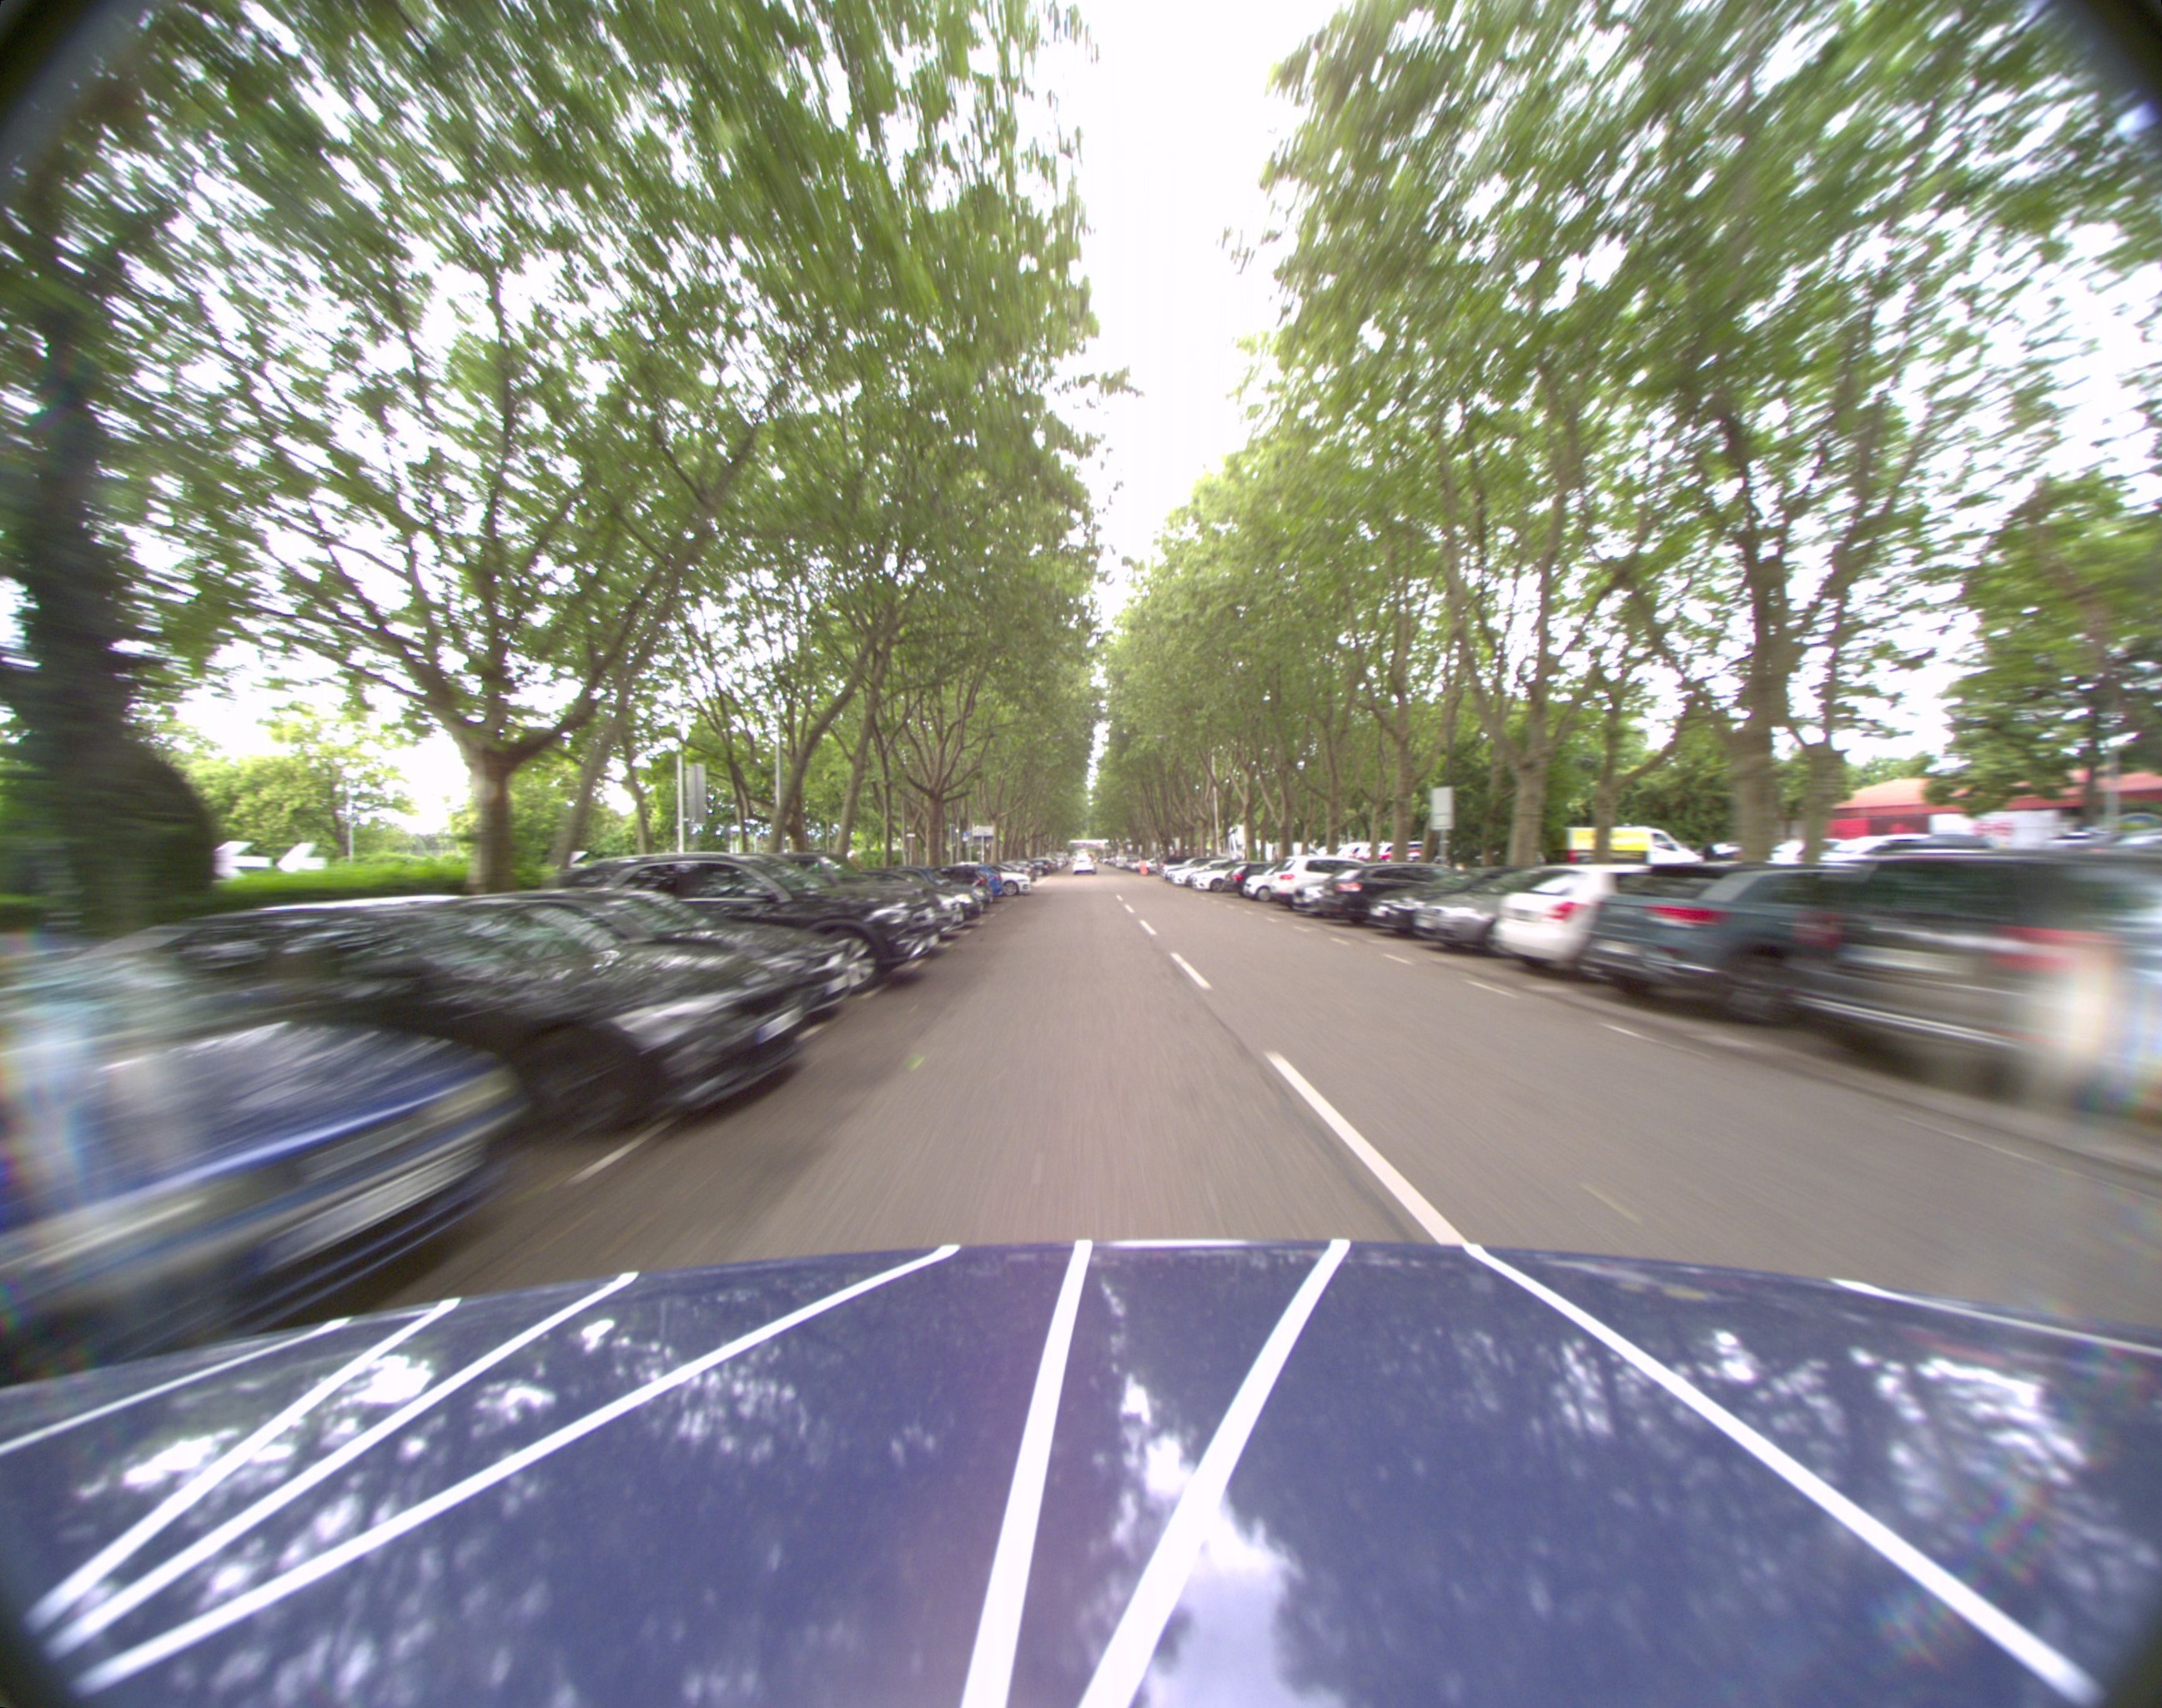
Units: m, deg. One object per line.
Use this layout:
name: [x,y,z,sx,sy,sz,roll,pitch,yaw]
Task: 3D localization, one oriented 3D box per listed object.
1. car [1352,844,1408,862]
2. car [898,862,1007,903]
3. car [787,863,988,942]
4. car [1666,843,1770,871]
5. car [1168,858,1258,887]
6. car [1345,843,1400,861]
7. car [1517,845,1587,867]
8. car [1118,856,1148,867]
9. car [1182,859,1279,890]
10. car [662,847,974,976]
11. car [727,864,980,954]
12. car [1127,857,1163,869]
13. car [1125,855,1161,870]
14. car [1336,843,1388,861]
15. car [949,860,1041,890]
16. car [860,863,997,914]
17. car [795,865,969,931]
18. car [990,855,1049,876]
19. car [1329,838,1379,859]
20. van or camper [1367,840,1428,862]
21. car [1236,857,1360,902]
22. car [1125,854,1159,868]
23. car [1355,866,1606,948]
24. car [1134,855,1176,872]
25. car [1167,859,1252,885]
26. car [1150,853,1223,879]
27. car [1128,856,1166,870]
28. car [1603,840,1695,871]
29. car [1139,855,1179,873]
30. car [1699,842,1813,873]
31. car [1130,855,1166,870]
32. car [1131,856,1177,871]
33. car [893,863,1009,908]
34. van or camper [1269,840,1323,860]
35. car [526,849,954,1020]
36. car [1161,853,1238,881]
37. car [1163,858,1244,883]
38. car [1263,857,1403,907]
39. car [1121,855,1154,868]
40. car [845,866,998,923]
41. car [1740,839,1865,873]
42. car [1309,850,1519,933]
car: [33.968,-0.116,86.399,5.467,1.839,1.999,-2,1,-2]
car: [-5.094,1.127,30.493,4.025,1.439,1.784,-2,0,1]
car: [-4.460,1.101,17.966,4.206,1.510,1.785,-3,1,0]
car: [34.368,0.179,41.046,3.997,1.388,1.901,-2,0,0]
car: [6.912,0.968,40.114,4.419,1.416,1.776,1,0,-1]
car: [34.102,-0.220,88.910,5.467,1.986,2.475,-2,1,-2]
car: [34.208,0.137,55.271,3.997,1.499,1.733,-2,1,-1]
car: [6.839,0.977,100.181,3.996,1.422,2.001,1,-1,2]
car: [7.314,0.984,37.449,4.418,1.409,1.784,1,0,2]
car: [-4.292,0.918,12.948,4.506,1.855,2.048,-2,0,2]
car: [-4.555,1.082,15.695,4.505,1.562,2.048,-2,0,3]
car: [7.294,1.031,87.320,3.996,1.302,2.001,1,-1,2]
car: [6.728,0.891,82.436,3.847,1.560,1.847,1,0,2]
car: [34.586,-0.279,93.615,5.467,2.009,2.393,-2,1,-2]
car: [-4.543,1.087,40.524,4.598,1.409,1.719,-2,0,3]
car: [-4.992,1.120,25.288,4.207,1.447,1.785,-2,0,-3]
car: [-5.258,1.143,20.520,4.207,1.509,1.785,-2,0,-3]
car: [-5.169,0.963,64.509,4.832,1.497,2.000,-3,0,-2]
car: [34.550,-0.657,96.302,5.467,2.502,2.393,-2,1,-2]
van or camper: [34.859,-0.343,83.780,5.719,2.242,2.329,-2,1,0]
car: [7.823,0.917,27.659,3.996,1.445,1.855,-2,1,1]
car: [7.358,0.907,92.610,4.028,1.619,2.001,1,-1,2]
car: [7.764,0.998,15.044,3.997,1.361,1.843,-2,1,-1]
car: [7.028,0.892,72.429,3.847,1.529,1.676,1,0,2]
car: [7.172,0.986,42.624,4.420,1.387,1.724,1,0,-2]
car: [6.916,0.778,50.046,4.420,1.616,2.047,1,0,-3]
car: [6.911,0.937,79.935,3.847,1.466,1.847,1,0,2]
car: [33.892,0.081,45.425,3.997,1.652,1.990,-2,1,0]
car: [7.185,0.886,69.966,3.565,1.569,1.847,1,0,2]
car: [33.957,0.198,38.316,3.997,1.388,1.901,-2,0,0]
car: [7.470,0.936,85.110,3.996,1.505,1.874,1,0,2]
car: [7.462,0.959,77.699,4.575,1.425,2.090,1,0,2]
car: [-4.718,1.123,28.047,4.027,1.439,1.913,-2,0,-5]
van or camper: [23.742,-0.443,83.920,5.299,2.087,2.244,-2,1,-2]
car: [-4.103,0.938,9.786,4.507,1.786,2.047,-2,0,0]
car: [7.363,0.798,47.489,4.420,1.616,2.047,1,0,-3]
car: [7.223,0.945,45.021,4.420,1.387,2.047,1,0,-3]
car: [8.243,0.888,25.107,3.996,1.445,1.855,-2,1,1]
car: [7.020,0.957,94.839,4.039,1.518,1.800,1,-1,2]
car: [-4.703,1.173,22.837,4.207,1.447,1.785,-2,0,-3]
car: [33.975,0.095,35.880,3.997,1.440,1.991,-2,0,0]
car: [7.541,0.818,17.511,3.996,1.672,1.855,-2,1,1]
